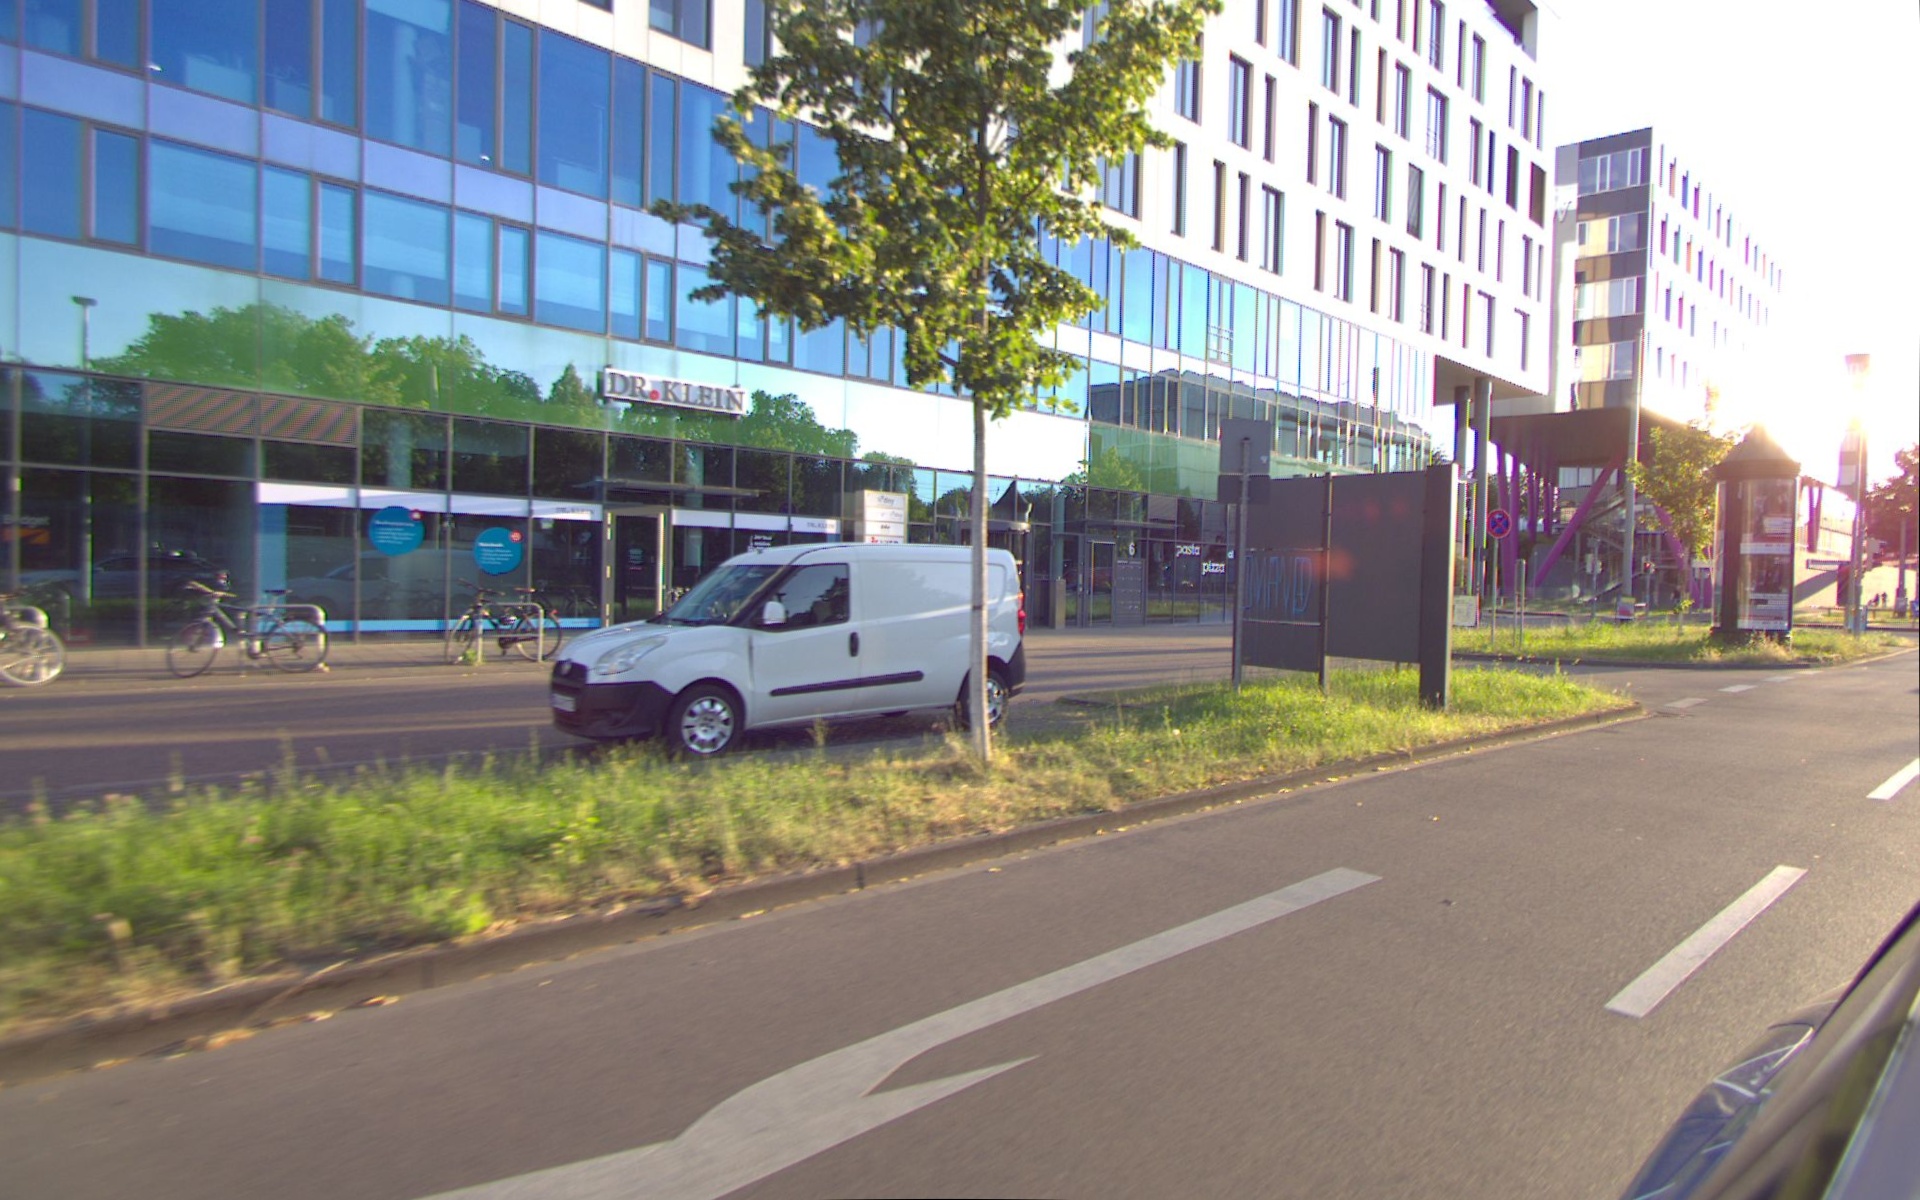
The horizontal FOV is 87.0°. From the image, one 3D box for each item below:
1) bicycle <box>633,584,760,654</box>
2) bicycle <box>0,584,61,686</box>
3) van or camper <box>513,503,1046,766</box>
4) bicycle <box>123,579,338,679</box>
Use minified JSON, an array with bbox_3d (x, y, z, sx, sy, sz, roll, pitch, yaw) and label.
[{"bbox_3d":[-4.254,0.306,16.369,1.878,1.053,0.532,1,3,-29],"label":"bicycle"},{"bbox_3d":[-10.793,0.373,10.579,0.529,1.053,2.041,5,3,43],"label":"bicycle"},{"bbox_3d":[-1.532,0.251,9.763,4.744,1.944,1.962,0,0,-40],"label":"van or camper"},{"bbox_3d":[-8.885,0.325,12.402,2.110,1.122,0.388,0,4,-41],"label":"bicycle"}]
